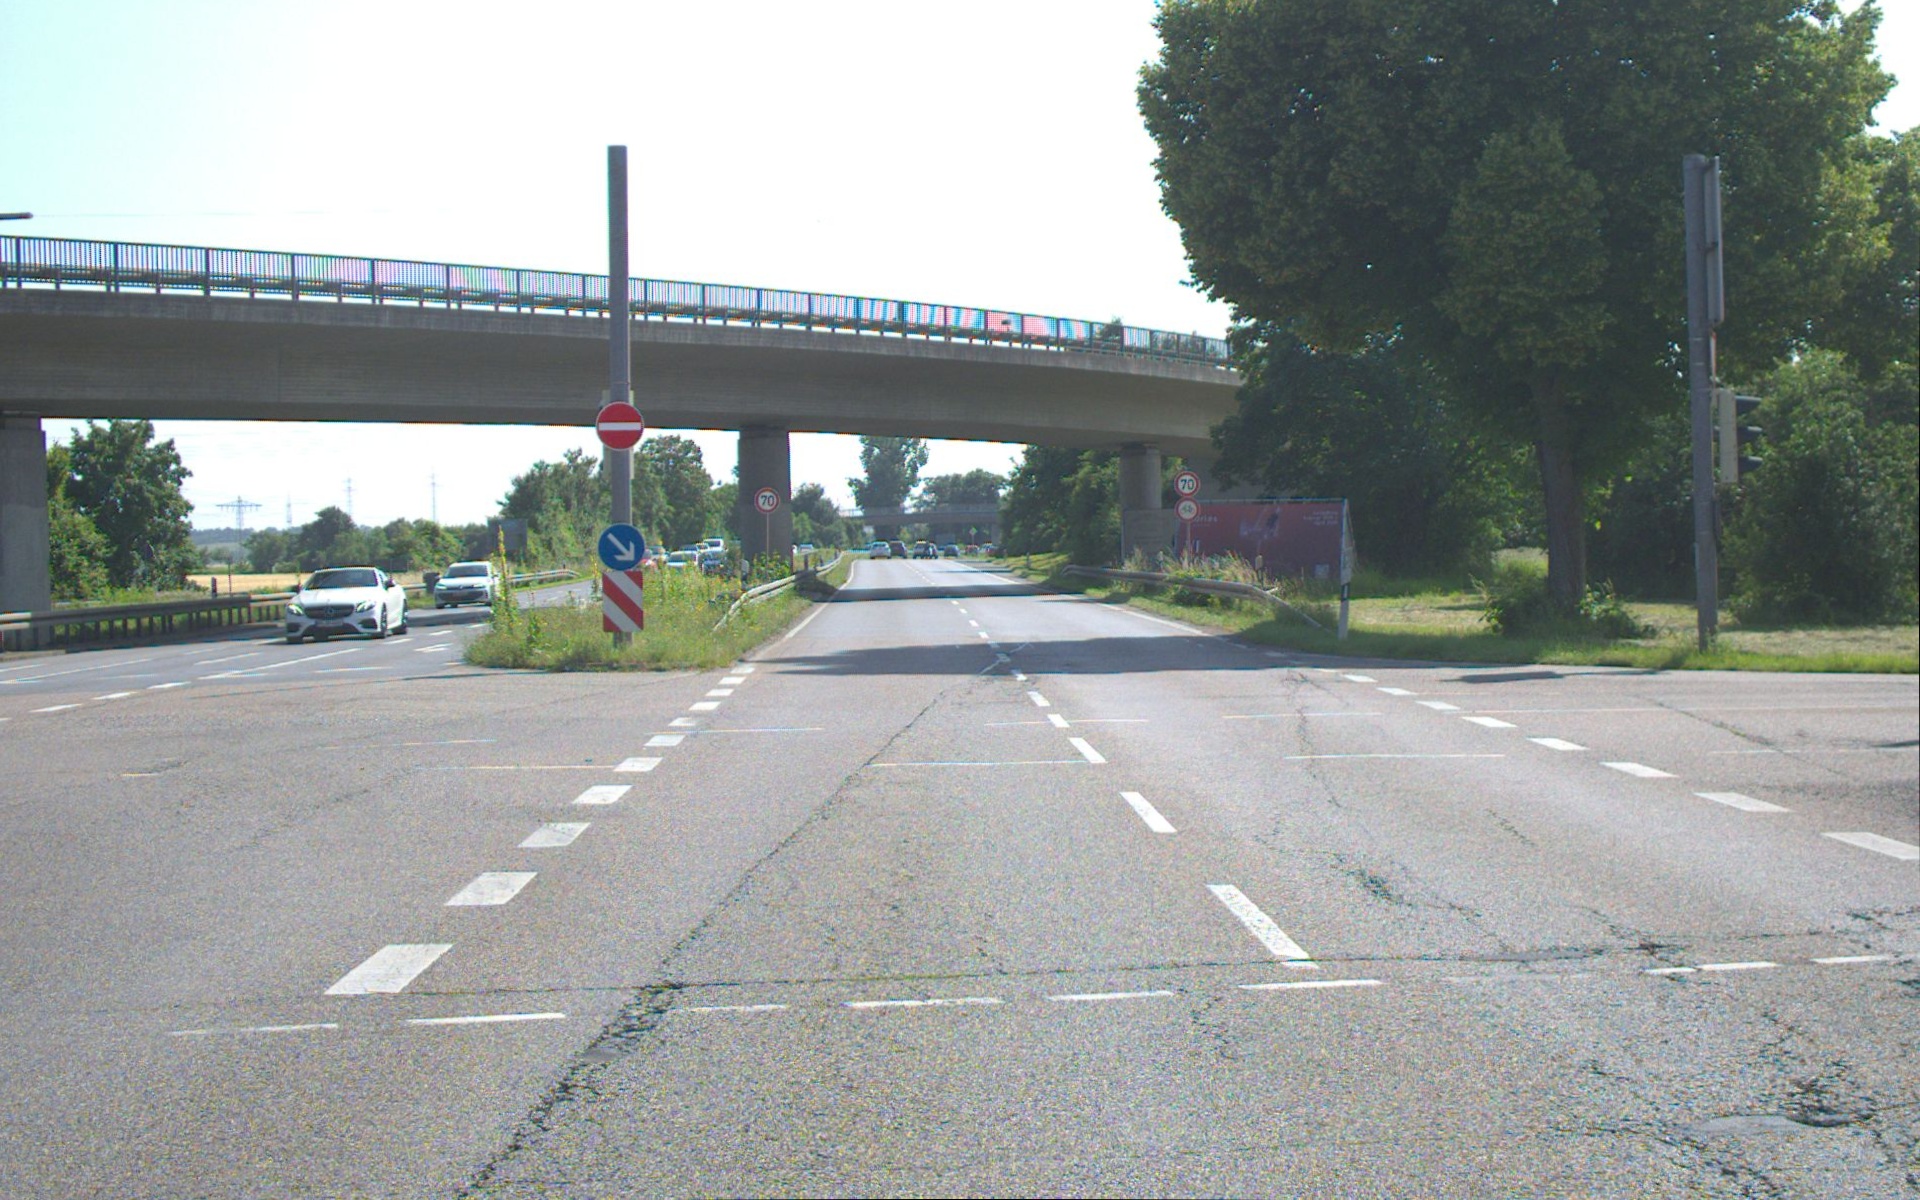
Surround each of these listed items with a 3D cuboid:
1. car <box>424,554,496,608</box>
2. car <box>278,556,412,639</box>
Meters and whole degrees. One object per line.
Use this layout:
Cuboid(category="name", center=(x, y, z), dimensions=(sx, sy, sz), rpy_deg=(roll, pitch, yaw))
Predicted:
Cuboid(category="car", center=(-15.977, -0.635, 109.958), dimensions=(1.790, 1.622, 4.000), rpy_deg=(-2, 1, -2))
Cuboid(category="car", center=(-11.934, -0.076, 66.917), dimensions=(1.856, 1.443, 4.241), rpy_deg=(-3, 1, -1))
